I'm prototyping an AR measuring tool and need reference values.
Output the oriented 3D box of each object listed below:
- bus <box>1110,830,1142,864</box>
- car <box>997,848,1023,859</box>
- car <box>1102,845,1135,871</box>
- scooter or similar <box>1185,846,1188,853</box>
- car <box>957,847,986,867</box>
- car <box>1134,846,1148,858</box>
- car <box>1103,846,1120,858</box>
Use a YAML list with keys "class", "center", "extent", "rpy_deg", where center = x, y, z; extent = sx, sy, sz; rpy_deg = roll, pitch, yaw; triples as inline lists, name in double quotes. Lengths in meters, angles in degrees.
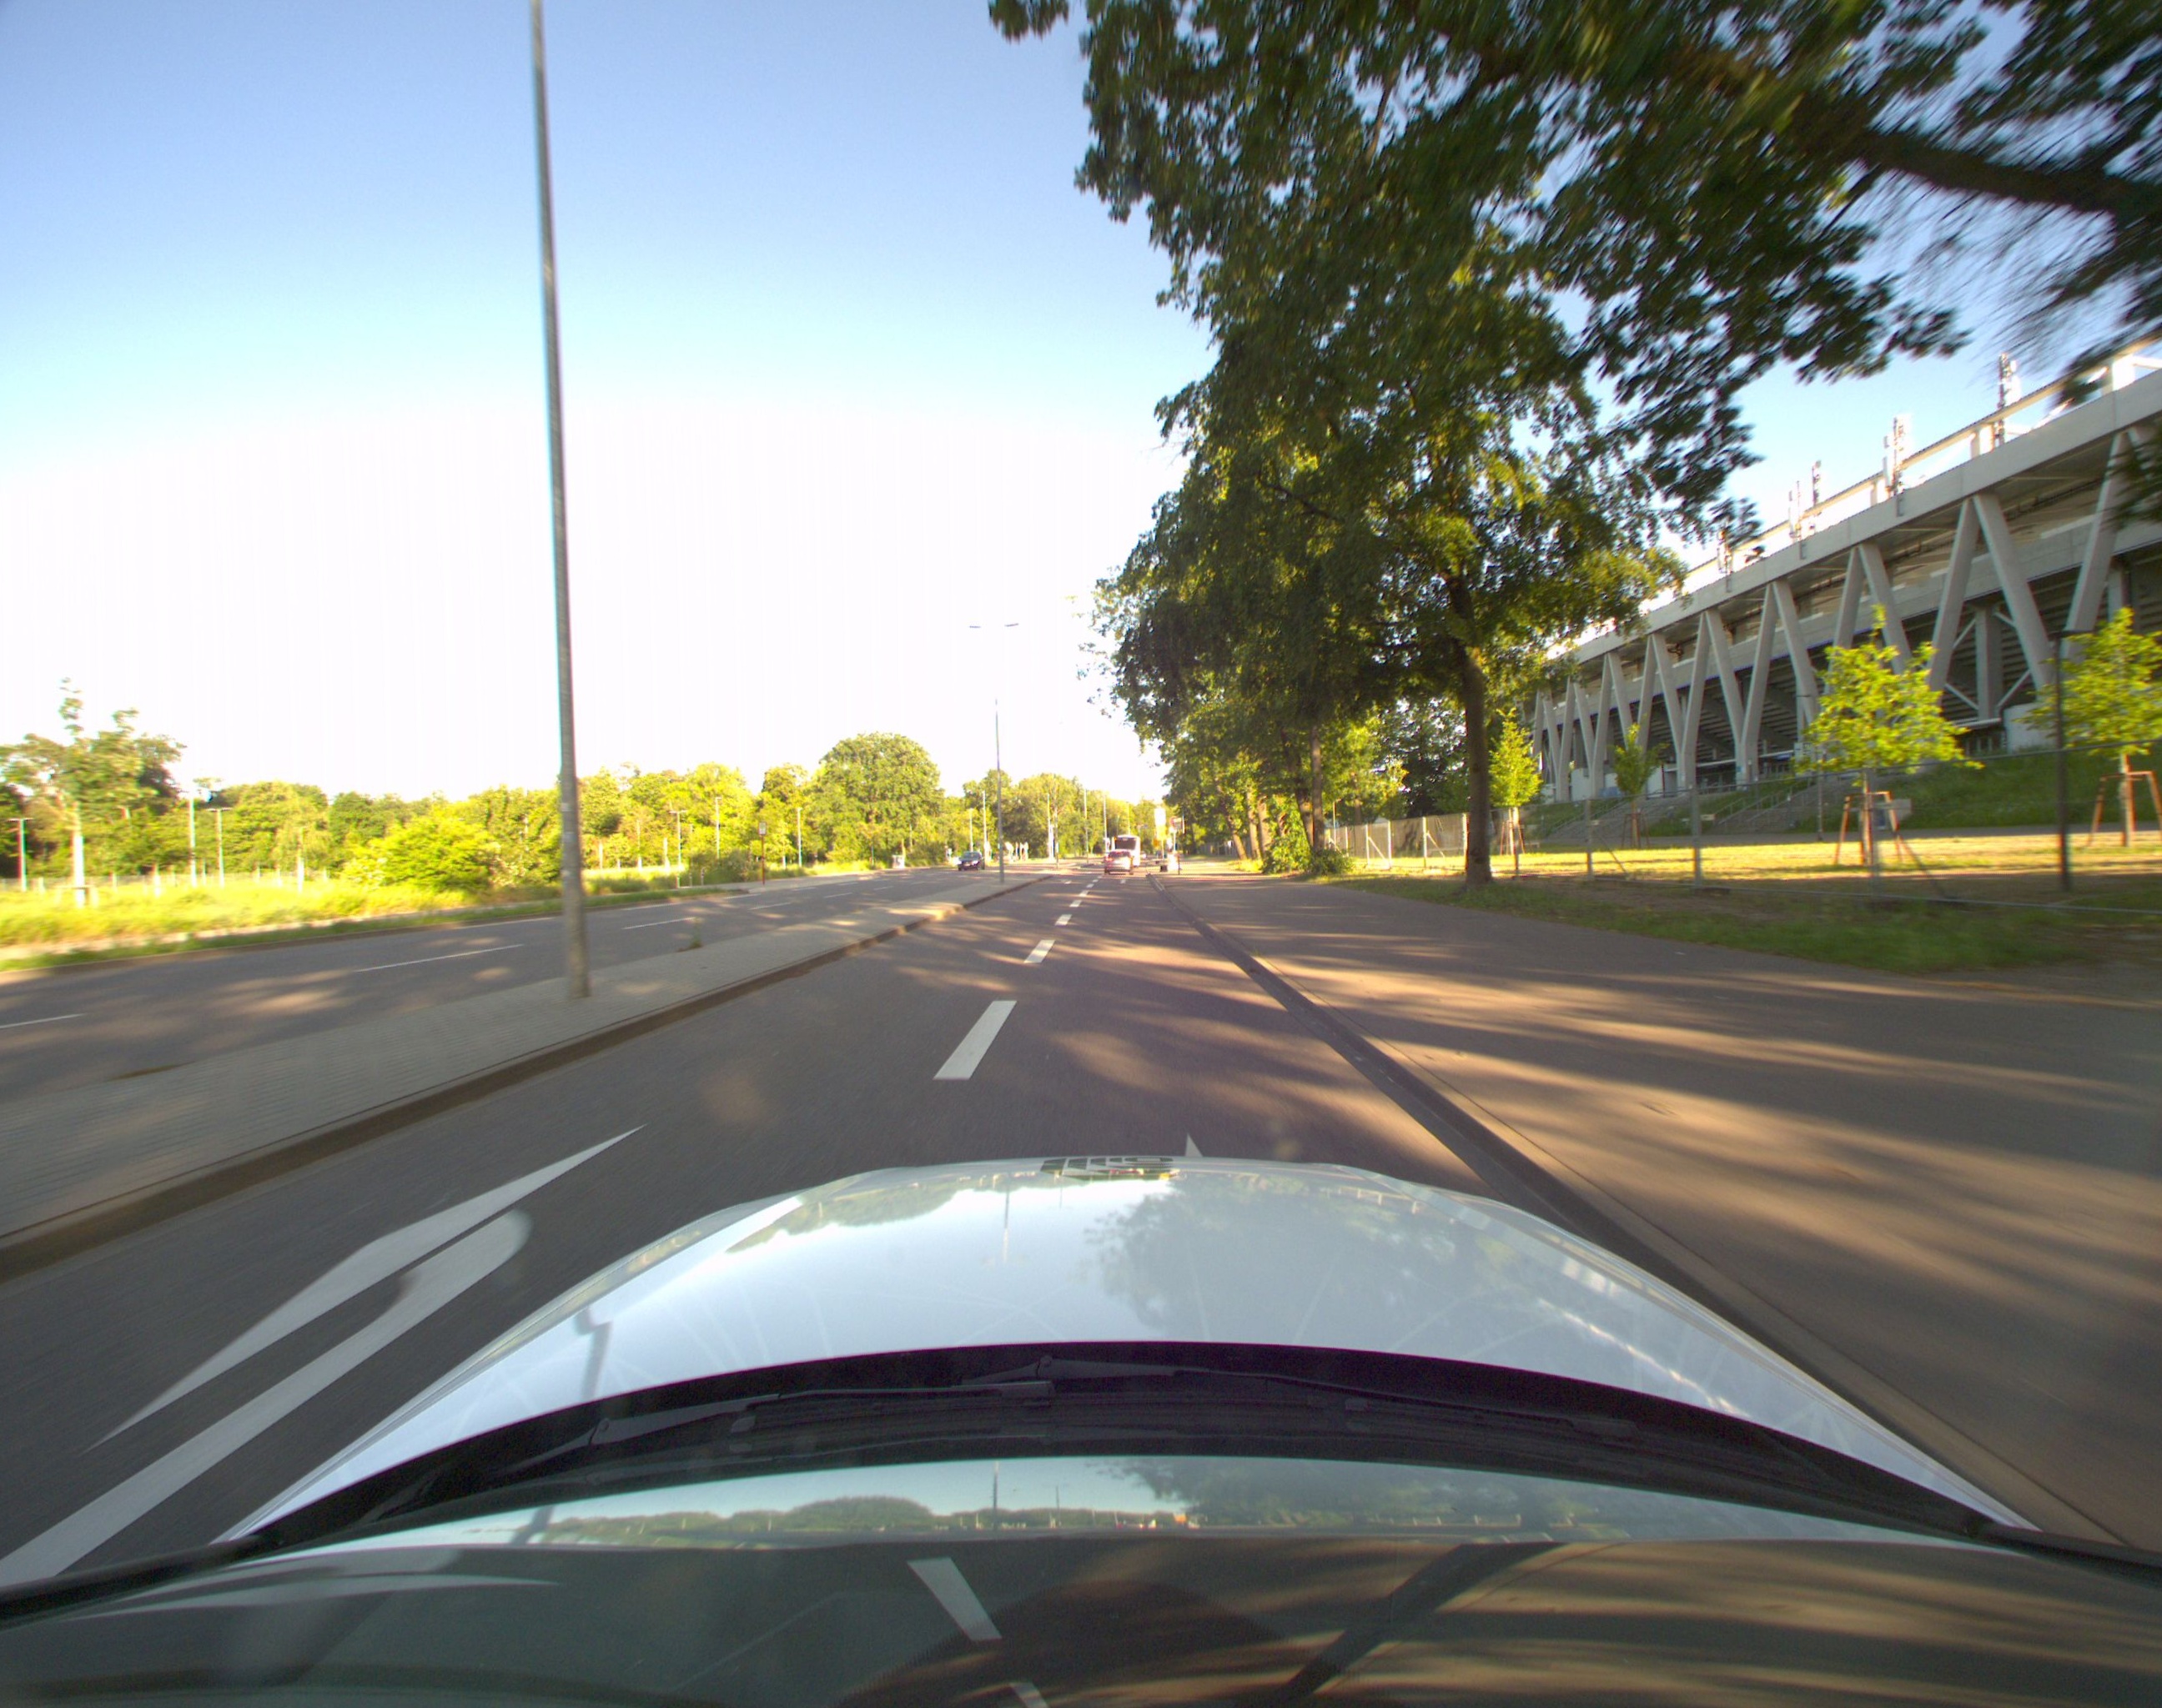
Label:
- class: "bus"
  center: [4.413, -0.642, 77.518]
  extent: [2.582, 2.989, 9.342]
  rpy_deg: [-1, 0, 6]
- class: "car"
  center: [-12.715, -0.106, 146.137]
  extent: [4.203, 1.585, 2.105]
  rpy_deg: [-3, 0, 1]
- class: "car"
  center: [2.504, 0.205, 53.333]
  extent: [1.889, 1.632, 4.007]
  rpy_deg: [0, 1, 6]
- class: "scooter or similar"
  center: [22.892, -1.056, 176.718]
  extent: [0.506, 1.444, 2.023]
  rpy_deg: [-3, 0, 1]
- class: "car"
  center: [-9.752, 0.257, 72.765]
  extent: [1.776, 1.692, 4.705]
  rpy_deg: [0, 1, 2]
- class: "car"
  center: [9.143, -0.353, 123.216]
  extent: [1.900, 1.728, 4.587]
  rpy_deg: [-1, 0, 6]
- class: "car"
  center: [3.893, -0.261, 103.218]
  extent: [1.827, 1.518, 4.007]
  rpy_deg: [-2, 0, 6]
